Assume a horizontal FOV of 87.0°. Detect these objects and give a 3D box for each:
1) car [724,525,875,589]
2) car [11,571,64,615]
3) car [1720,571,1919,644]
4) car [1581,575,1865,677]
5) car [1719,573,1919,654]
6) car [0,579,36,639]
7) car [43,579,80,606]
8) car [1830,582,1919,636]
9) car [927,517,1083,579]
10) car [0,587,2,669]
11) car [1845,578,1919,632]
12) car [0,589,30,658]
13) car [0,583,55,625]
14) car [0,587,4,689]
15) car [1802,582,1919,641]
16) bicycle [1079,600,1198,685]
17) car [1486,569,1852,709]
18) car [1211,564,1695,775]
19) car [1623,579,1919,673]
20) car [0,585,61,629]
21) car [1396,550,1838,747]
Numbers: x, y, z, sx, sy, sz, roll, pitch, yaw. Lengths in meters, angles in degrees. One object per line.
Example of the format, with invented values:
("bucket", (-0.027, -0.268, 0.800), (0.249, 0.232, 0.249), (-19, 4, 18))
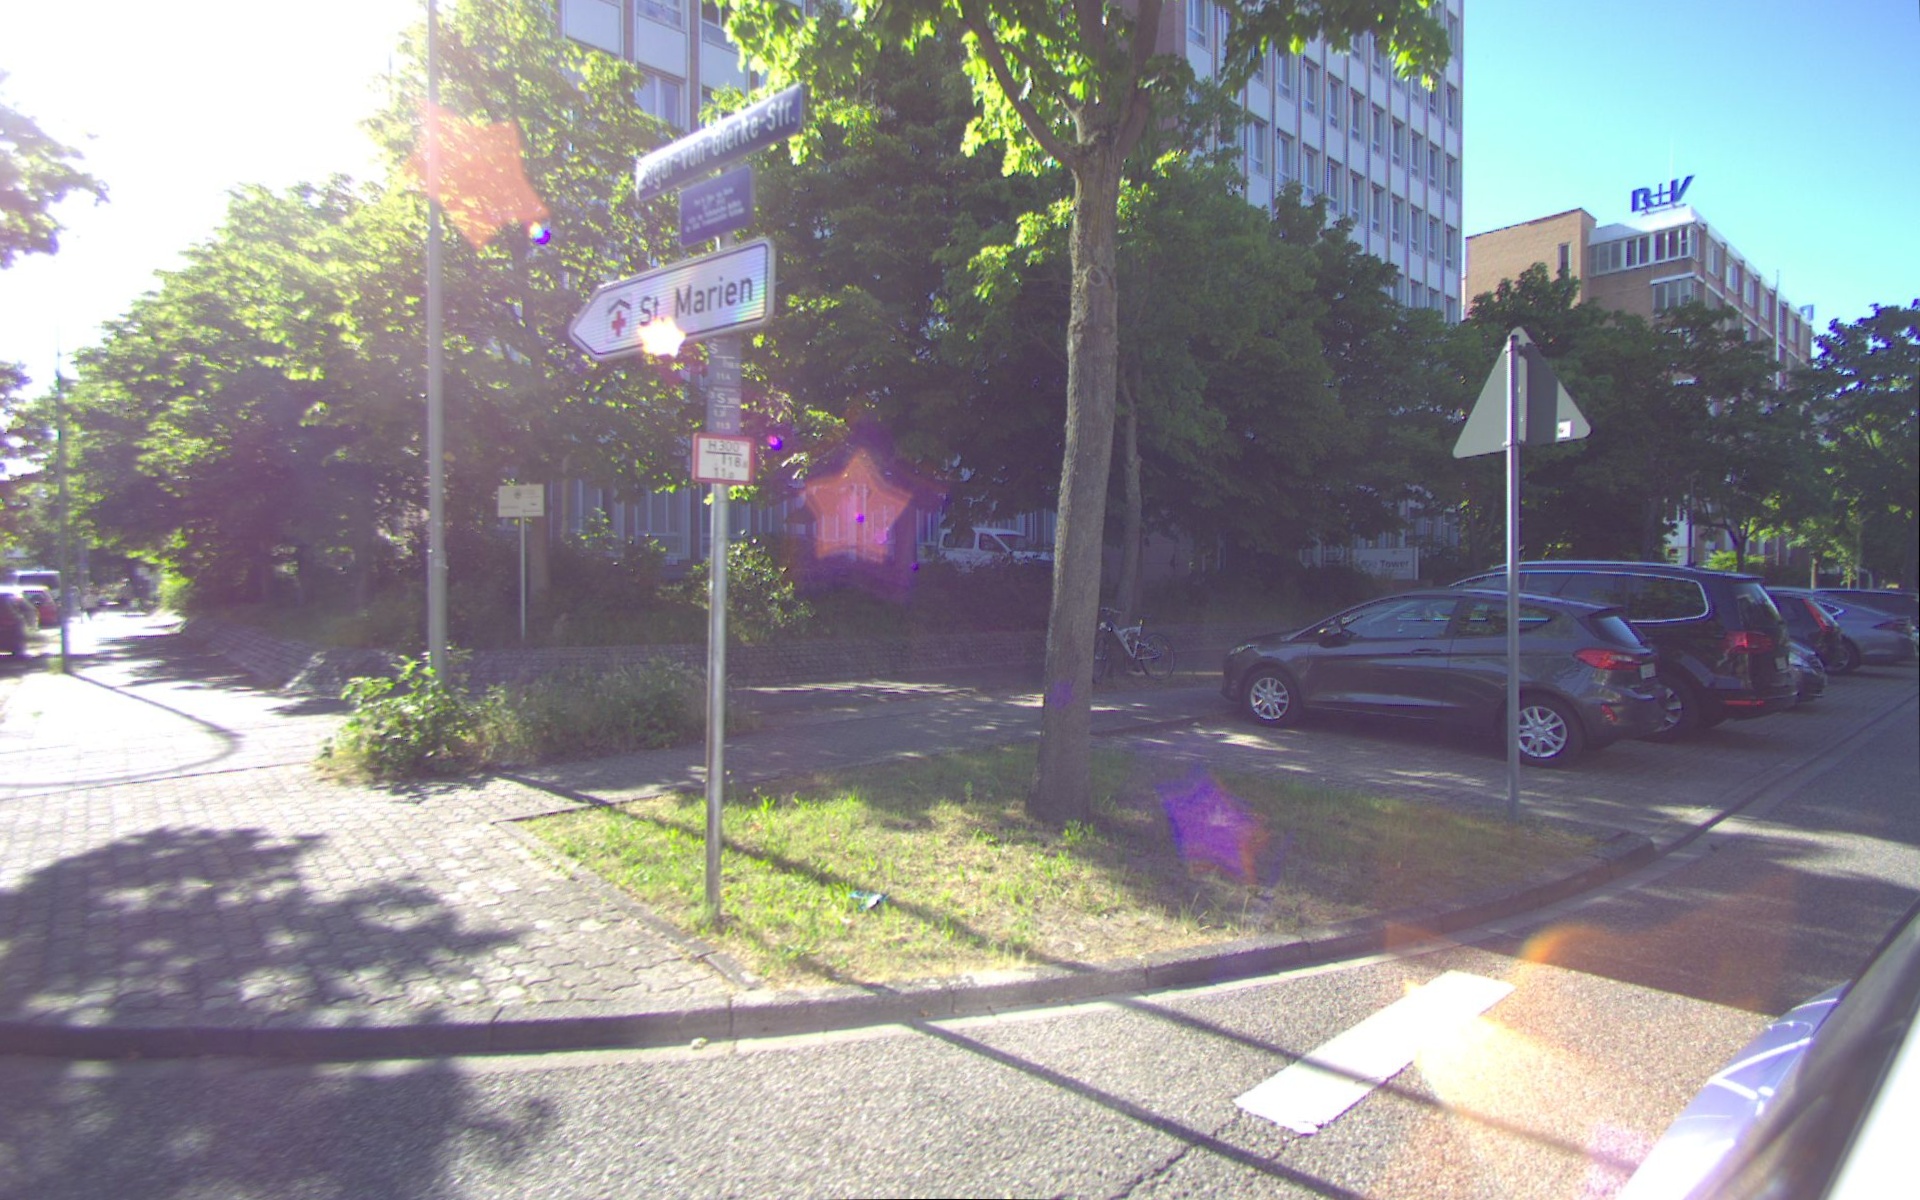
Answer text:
("car", (-4.246, -1.077, 26.420), (4.224, 1.525, 1.697), (1, 1, 44))
("car", (-48.362, -0.358, 53.049), (1.967, 2.208, 3.990), (-1, 1, -43))
("car", (20.162, 0.131, 23.401), (1.656, 1.569, 3.974), (-1, 1, -44))
("car", (13.198, 0.353, 17.654), (1.696, 1.499, 3.715), (-1, 3, -43))
("car", (18.498, 0.226, 21.462), (1.695, 1.525, 3.578), (-1, 3, -42))
("car", (-25.848, 0.236, 26.956), (1.681, 1.512, 3.766), (-1, 1, -40))
("car", (-65.560, -0.570, 73.883), (1.966, 1.896, 3.993), (-1, 1, -41))
("car", (27.810, 0.258, 29.860), (1.470, 1.477, 2.999), (-1, 3, -38))
("car", (1.272, -1.484, 30.485), (1.845, 1.707, 4.718), (-1, 1, -45))
("car", (-17.271, 0.530, 16.936), (1.622, 1.487, 3.850), (-1, 1, -41))
("car", (30.201, 0.160, 32.000), (1.575, 1.624, 3.054), (-1, 3, -38))
("car", (-20.114, 0.465, 20.719), (1.526, 1.321, 3.496), (-1, 1, -42))
("car", (-36.613, 0.137, 39.666), (1.619, 1.572, 3.991), (-1, 1, -43))
("car", (-13.652, 0.585, 12.985), (1.739, 1.466, 3.994), (-2, 2, -40))
("car", (25.784, 0.290, 28.261), (1.559, 1.497, 3.205), (-1, 3, -37))
("bicycle", (2.365, 0.526, 13.246), (1.921, 1.006, 0.303), (-1, 1, -37))
("car", (9.613, 0.403, 13.911), (3.872, 1.584, 1.781), (3, 3, 45))
("car", (4.549, 0.501, 9.763), (1.565, 1.464, 3.840), (1, 3, -43))
("car", (15.344, 0.395, 19.102), (1.828, 1.573, 4.426), (-1, 1, -42))
("car", (-33.292, 0.229, 36.104), (1.738, 1.442, 3.867), (-1, 1, -41))
("car", (6.970, 0.347, 11.050), (1.693, 1.772, 3.682), (-1, 3, -38))
